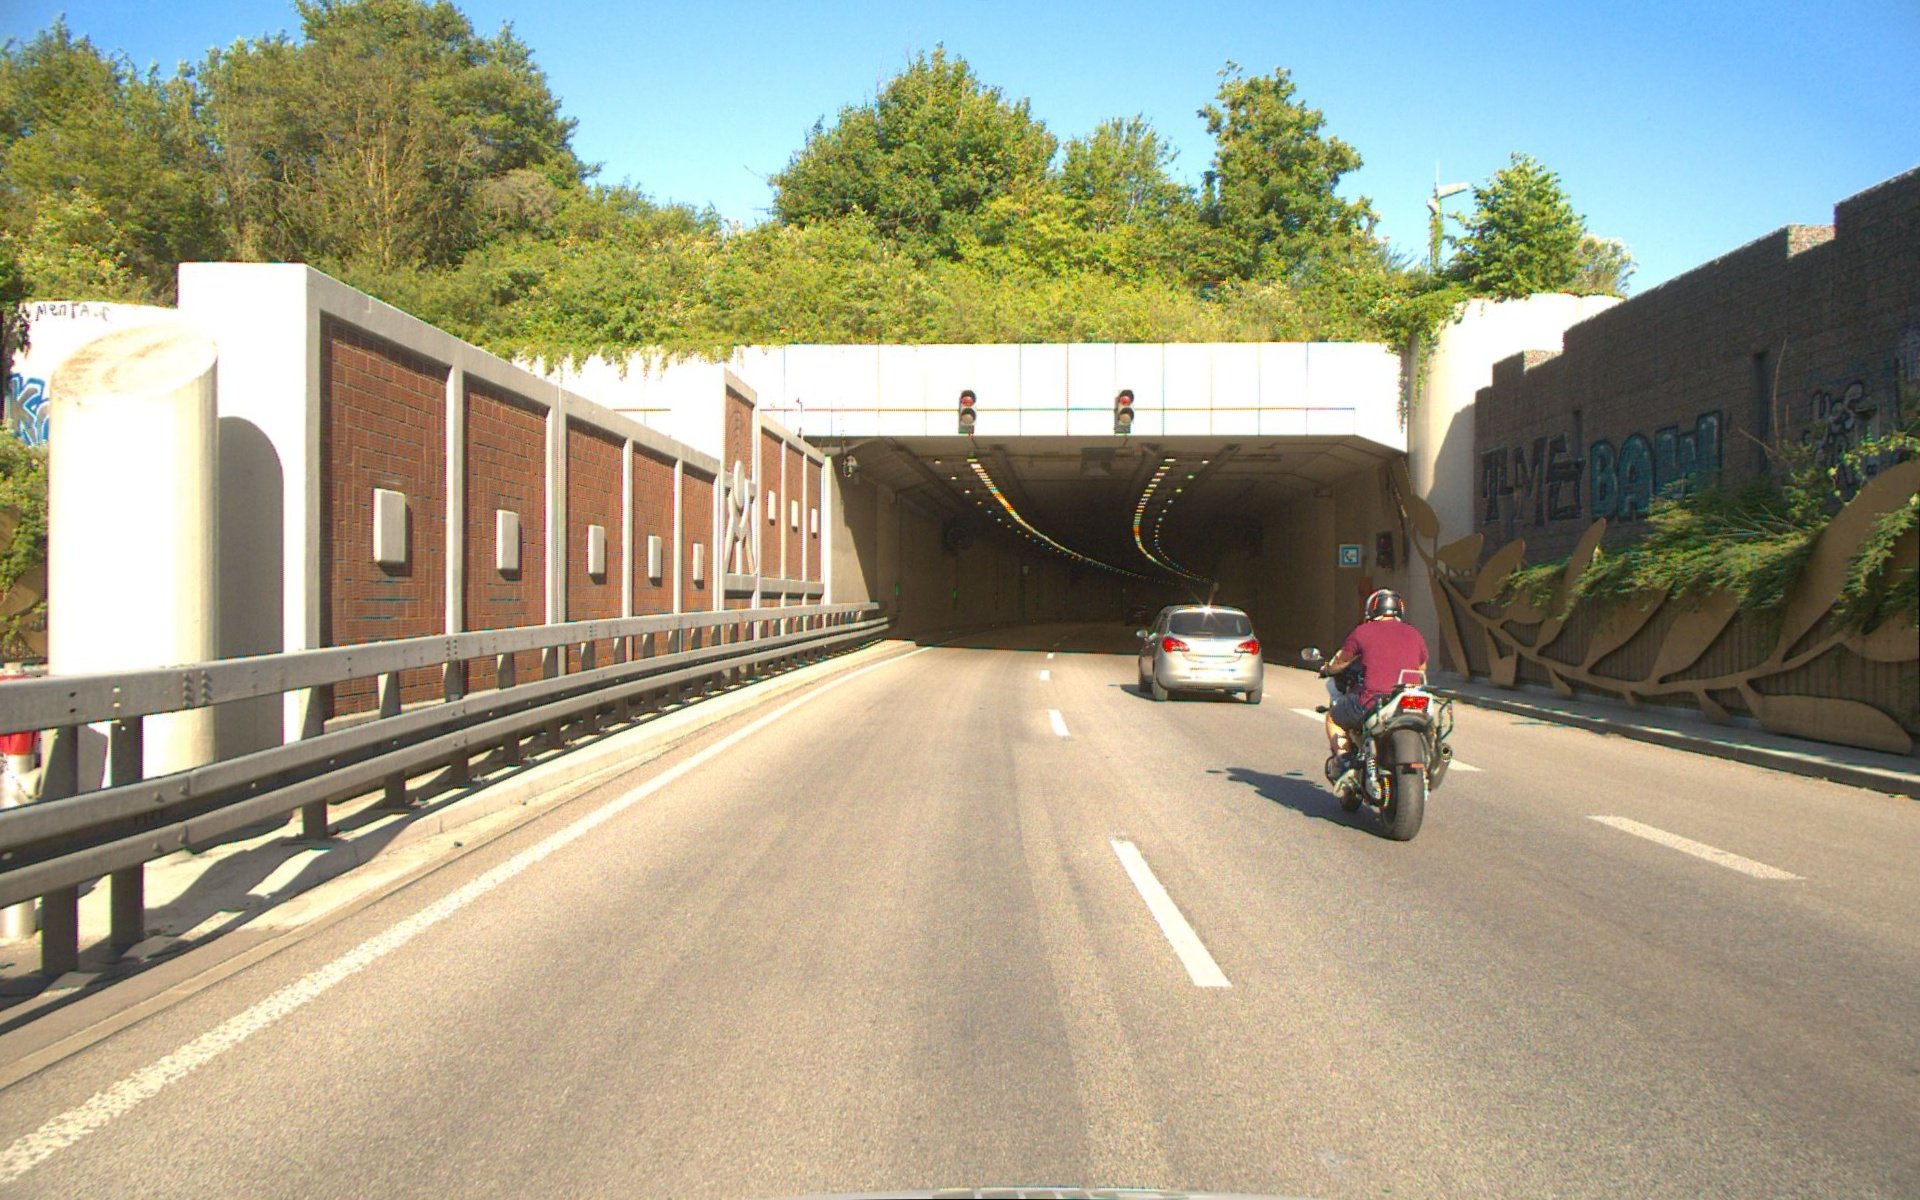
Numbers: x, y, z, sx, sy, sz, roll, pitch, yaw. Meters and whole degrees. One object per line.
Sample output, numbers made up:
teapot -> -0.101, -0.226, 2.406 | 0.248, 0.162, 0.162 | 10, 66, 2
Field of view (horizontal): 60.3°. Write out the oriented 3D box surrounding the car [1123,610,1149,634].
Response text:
car -> 12.637, 1.552, 118.527 | 1.632, 1.579, 4.003 | 3, 1, 9

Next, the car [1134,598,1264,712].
car -> 3.781, 0.818, 26.674 | 1.632, 1.579, 4.002 | 2, 1, 3

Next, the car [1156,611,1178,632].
car -> 21.345, 2.194, 170.237 | 1.951, 1.959, 4.004 | 1, 0, 10

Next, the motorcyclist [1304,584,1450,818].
motorcyclist -> 2.915, 0.673, 11.665 | 0.864, 1.527, 1.064 | 2, 0, 10

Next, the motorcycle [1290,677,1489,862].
motorcycle -> 2.939, 1.113, 11.640 | 0.840, 1.008, 2.729 | 2, 0, 4
